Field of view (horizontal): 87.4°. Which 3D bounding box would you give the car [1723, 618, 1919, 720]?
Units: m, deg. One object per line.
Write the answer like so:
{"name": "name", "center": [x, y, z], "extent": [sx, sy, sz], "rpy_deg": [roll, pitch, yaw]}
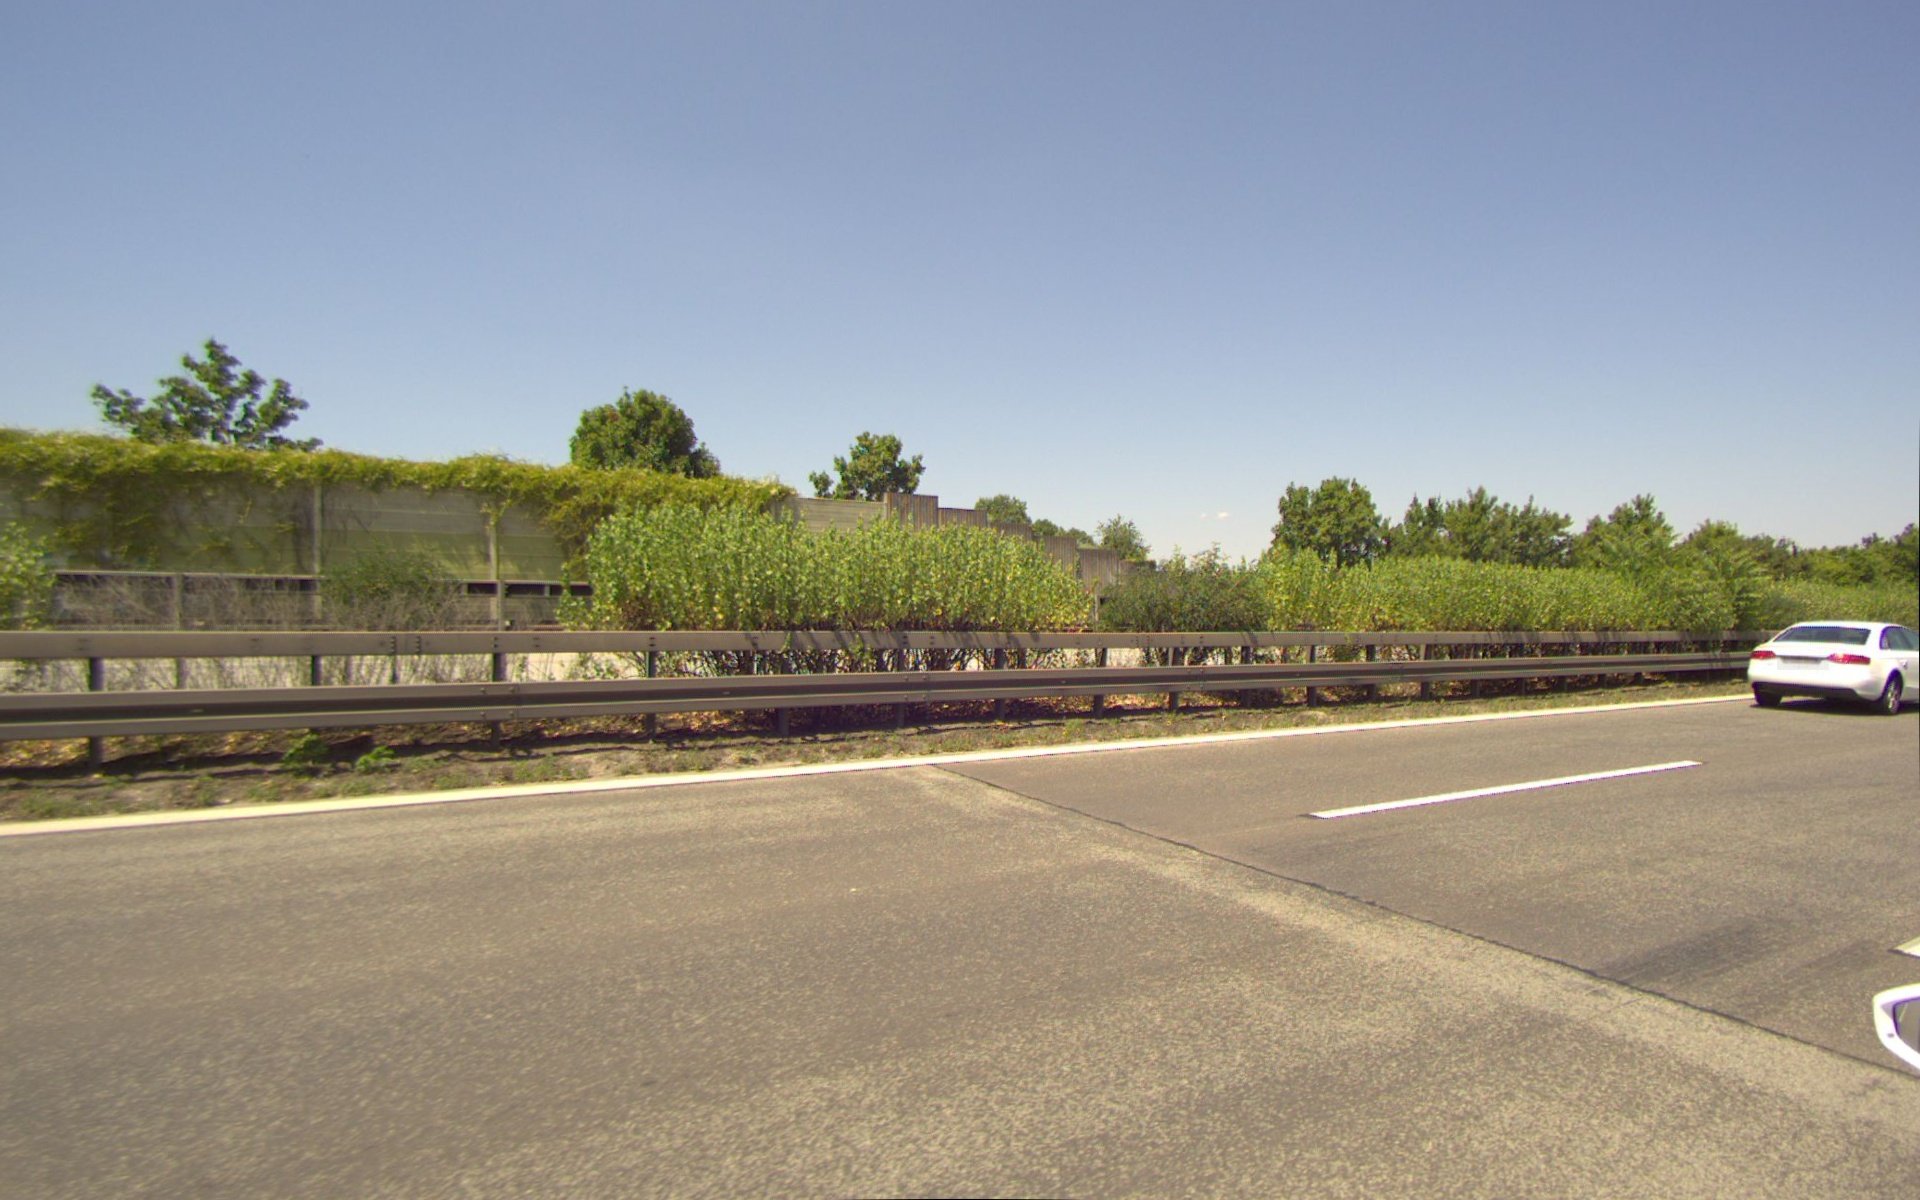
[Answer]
{"name": "car", "center": [15.185, 1.085, 17.023], "extent": [5.067, 1.460, 1.867], "rpy_deg": [1, 0, -31]}

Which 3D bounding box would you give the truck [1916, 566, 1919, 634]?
{"name": "truck", "center": [62.097, 0.010, 62.415], "extent": [4.689, 4.211, 2.594], "rpy_deg": [1, 0, -29]}
